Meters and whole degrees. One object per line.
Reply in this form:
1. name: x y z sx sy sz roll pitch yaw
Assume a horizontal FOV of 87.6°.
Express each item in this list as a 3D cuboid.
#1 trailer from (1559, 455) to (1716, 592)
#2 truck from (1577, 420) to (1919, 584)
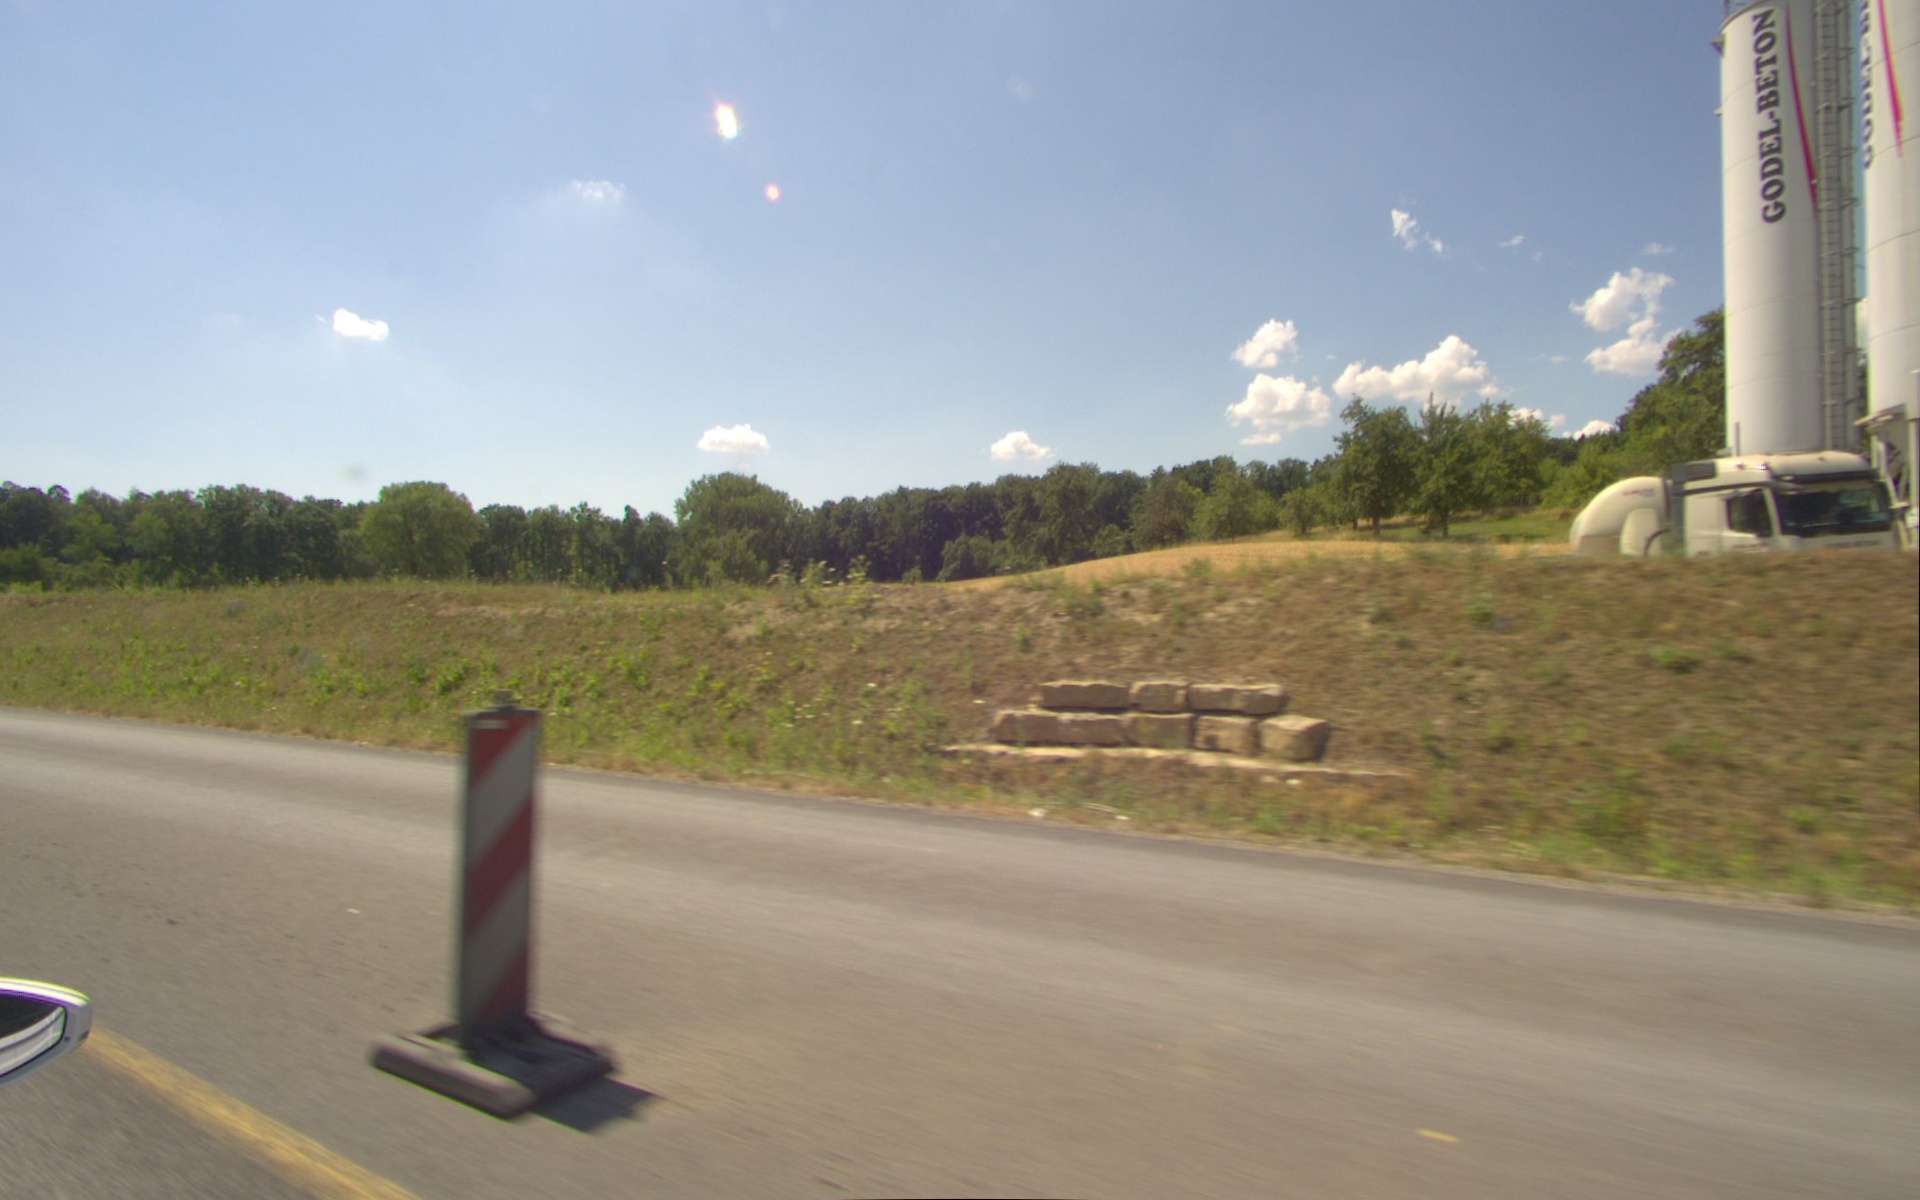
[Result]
1. trailer: 17.110 -1.676 25.811 2.426 2.640 8.888 -1 -1 28
2. truck: 15.709 -1.754 20.293 2.849 2.576 5.310 0 -2 -4
